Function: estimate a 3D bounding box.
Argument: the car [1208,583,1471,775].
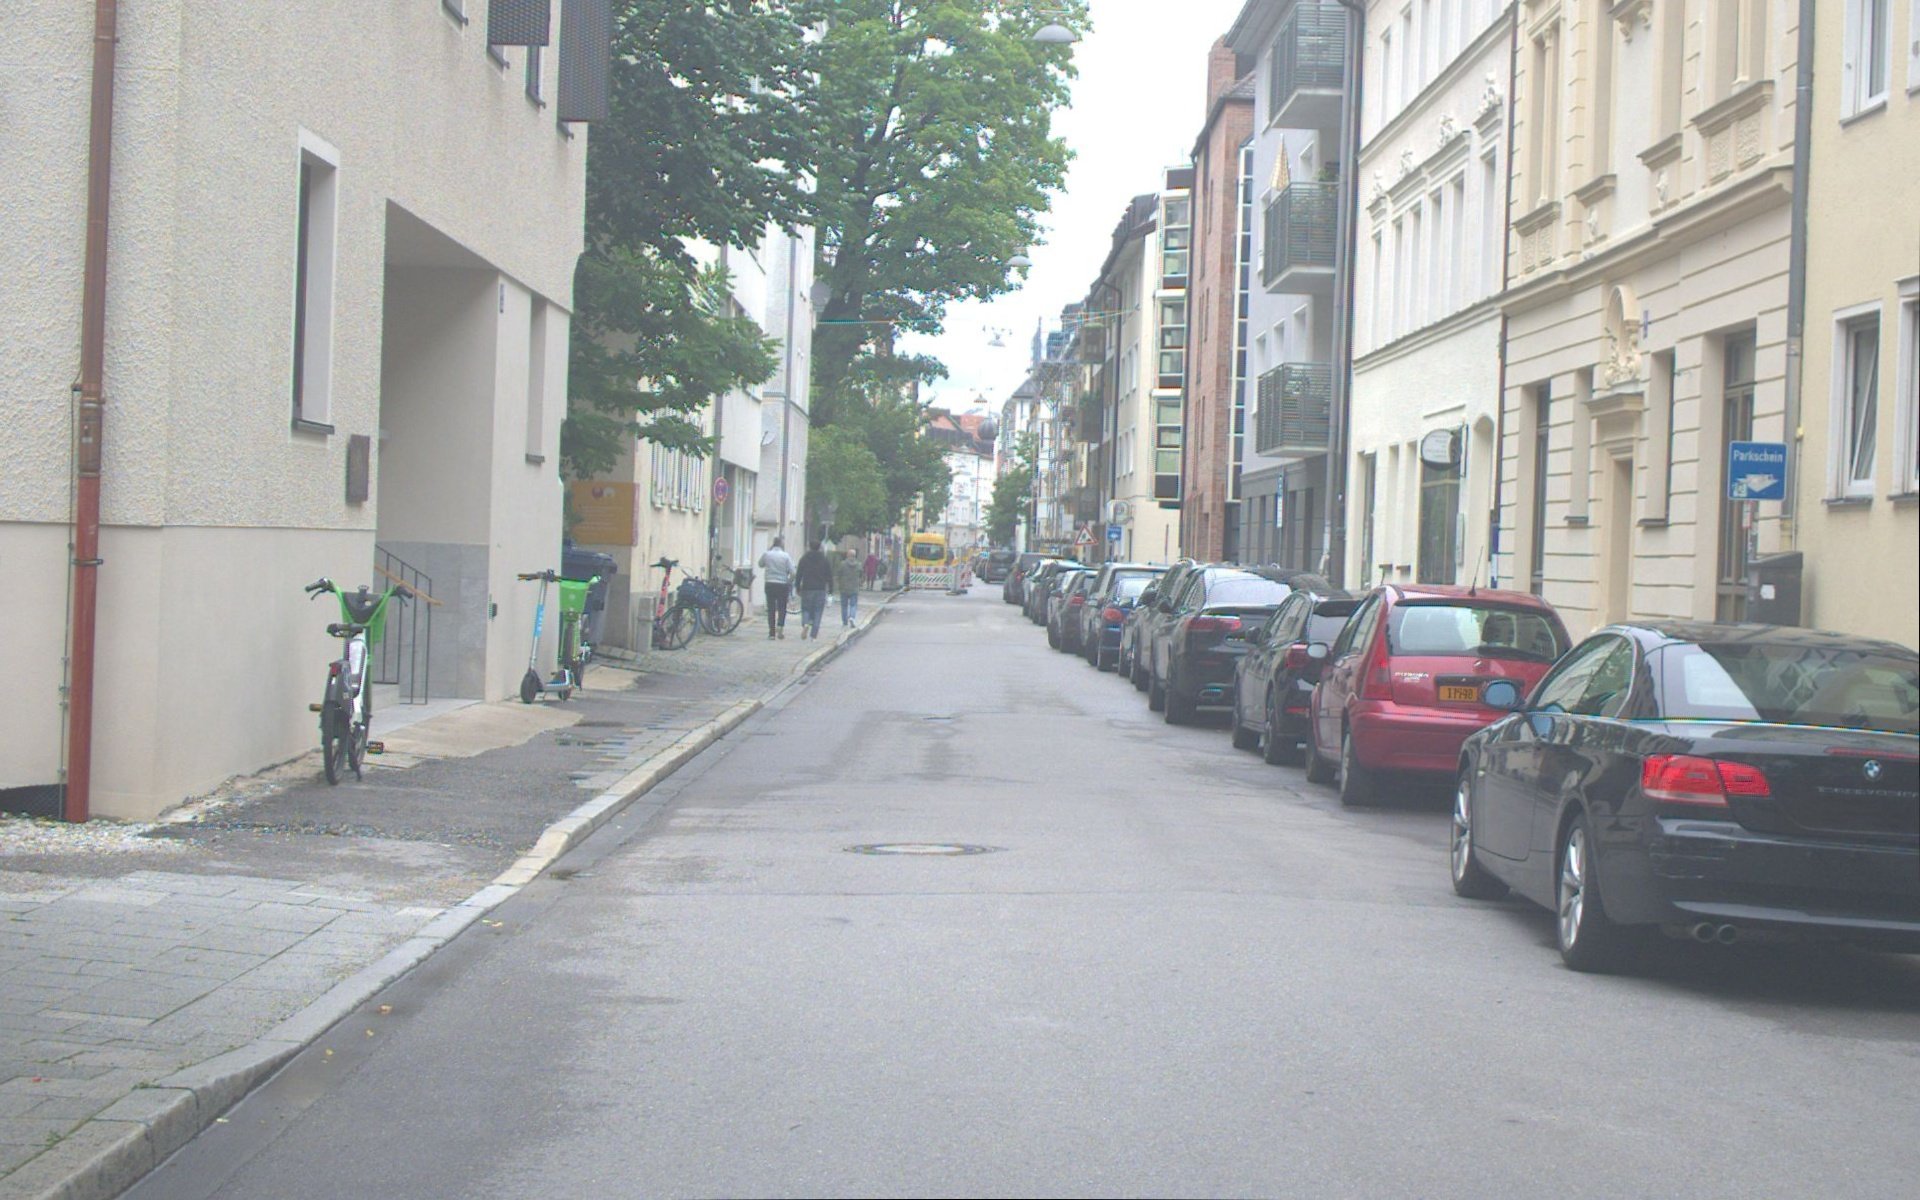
[{"bbox_3d":[3.108,0.609,28.860,1.676,1.388,4.066,3,1,0],"label":"car"}]

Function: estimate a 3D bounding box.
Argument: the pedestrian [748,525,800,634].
[{"bbox_3d":[-3.156,-0.344,58.365,0.718,1.790,0.917,4,0,0],"label":"pedestrian"}]

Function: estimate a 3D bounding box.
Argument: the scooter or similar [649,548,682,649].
[{"bbox_3d":[-4.053,-0.026,47.305,0.317,1.371,1.239,2,0,0],"label":"scooter or similar"}]

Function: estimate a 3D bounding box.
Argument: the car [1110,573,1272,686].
[{"bbox_3d":[3.063,0.364,46.385,1.799,1.381,4.349,2,1,-1],"label":"car"}]

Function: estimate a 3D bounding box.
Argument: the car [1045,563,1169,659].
[{"bbox_3d":[2.560,0.168,60.729,1.839,1.523,4.293,3,1,-1],"label":"car"}]

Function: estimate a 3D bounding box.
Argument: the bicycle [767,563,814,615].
[{"bbox_3d":[-4.043,-0.270,81.862,0.641,1.213,1.665,1,0,-19],"label":"bicycle"}]

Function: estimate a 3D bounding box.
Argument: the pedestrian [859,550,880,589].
[{"bbox_3d":[-3.500,-1.185,132.559,0.756,1.486,0.831,2,0,0],"label":"pedestrian"}]

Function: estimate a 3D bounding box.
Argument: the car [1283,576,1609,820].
[{"bbox_3d":[3.347,0.625,24.321,1.676,1.487,3.853,3,1,0],"label":"car"}]

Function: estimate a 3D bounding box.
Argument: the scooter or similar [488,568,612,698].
[{"bbox_3d":[-3.795,0.312,31.906,0.552,1.140,1.357,5,0,17],"label":"scooter or similar"}]

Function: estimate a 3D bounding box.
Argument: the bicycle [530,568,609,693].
[{"bbox_3d":[-3.849,0.286,33.971,0.544,1.157,1.882,4,1,-2],"label":"bicycle"}]

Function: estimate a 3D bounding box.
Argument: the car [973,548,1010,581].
[{"bbox_3d":[1.816,-2.073,199.813,1.801,1.706,3.827,6,1,-2],"label":"car"}]

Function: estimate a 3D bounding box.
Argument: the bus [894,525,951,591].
[{"bbox_3d":[-1.803,-2.008,168.040,2.593,3.091,6.306,2,0,0],"label":"bus"}]

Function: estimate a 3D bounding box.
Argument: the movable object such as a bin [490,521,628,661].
[{"bbox_3d":[-4.594,-0.113,39.483,1.174,1.437,1.248,7,2,6],"label":"movable object such as a bin"}]

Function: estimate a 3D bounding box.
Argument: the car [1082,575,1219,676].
[{"bbox_3d":[2.779,0.351,50.924,1.808,1.358,3.945,2,1,0],"label":"car"}]

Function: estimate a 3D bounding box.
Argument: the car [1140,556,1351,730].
[{"bbox_3d":[2.883,0.383,35.559,1.702,1.601,4.685,3,1,0],"label":"car"}]

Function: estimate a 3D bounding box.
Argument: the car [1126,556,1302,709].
[{"bbox_3d":[2.993,0.341,41.242,1.676,1.655,4.513,3,1,0],"label":"car"}]

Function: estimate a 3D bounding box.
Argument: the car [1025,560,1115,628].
[{"bbox_3d":[2.708,-0.165,85.535,1.885,1.550,4.392,3,1,-2],"label":"car"}]

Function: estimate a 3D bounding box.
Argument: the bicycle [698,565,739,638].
[{"bbox_3d":[-4.005,0.021,57.181,0.458,1.155,1.605,5,0,1],"label":"bicycle"}]

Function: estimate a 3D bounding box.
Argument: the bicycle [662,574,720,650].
[{"bbox_3d":[-3.835,0.158,49.038,0.703,0.981,1.823,6,0,-4],"label":"bicycle"}]

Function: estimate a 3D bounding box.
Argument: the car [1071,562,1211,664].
[{"bbox_3d":[2.896,0.175,55.842,1.875,1.565,4.316,1,1,-2],"label":"car"}]

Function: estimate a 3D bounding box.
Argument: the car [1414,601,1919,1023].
[{"bbox_3d":[3.222,0.794,14.557,1.825,1.330,4.509,6,1,-1],"label":"car"}]

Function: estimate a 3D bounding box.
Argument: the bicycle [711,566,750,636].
[{"bbox_3d":[-3.933,0.016,58.897,0.561,1.155,1.721,3,0,-6],"label":"bicycle"}]

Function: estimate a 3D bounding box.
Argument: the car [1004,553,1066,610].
[{"bbox_3d":[2.651,-0.675,122.078,1.801,1.814,4.001,6,1,-2],"label":"car"}]

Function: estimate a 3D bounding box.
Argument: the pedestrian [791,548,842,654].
[{"bbox_3d":[-2.447,0.016,58.718,0.718,1.759,0.838,4,0,0],"label":"pedestrian"}]

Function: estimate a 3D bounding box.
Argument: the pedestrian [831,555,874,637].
[{"bbox_3d":[-2.241,-0.077,71.968,0.753,1.653,0.906,4,0,0],"label":"pedestrian"}]

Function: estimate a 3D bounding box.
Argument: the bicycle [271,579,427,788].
[{"bbox_3d":[-3.590,0.463,20.328,0.538,1.135,1.917,4,1,-1],"label":"bicycle"}]
